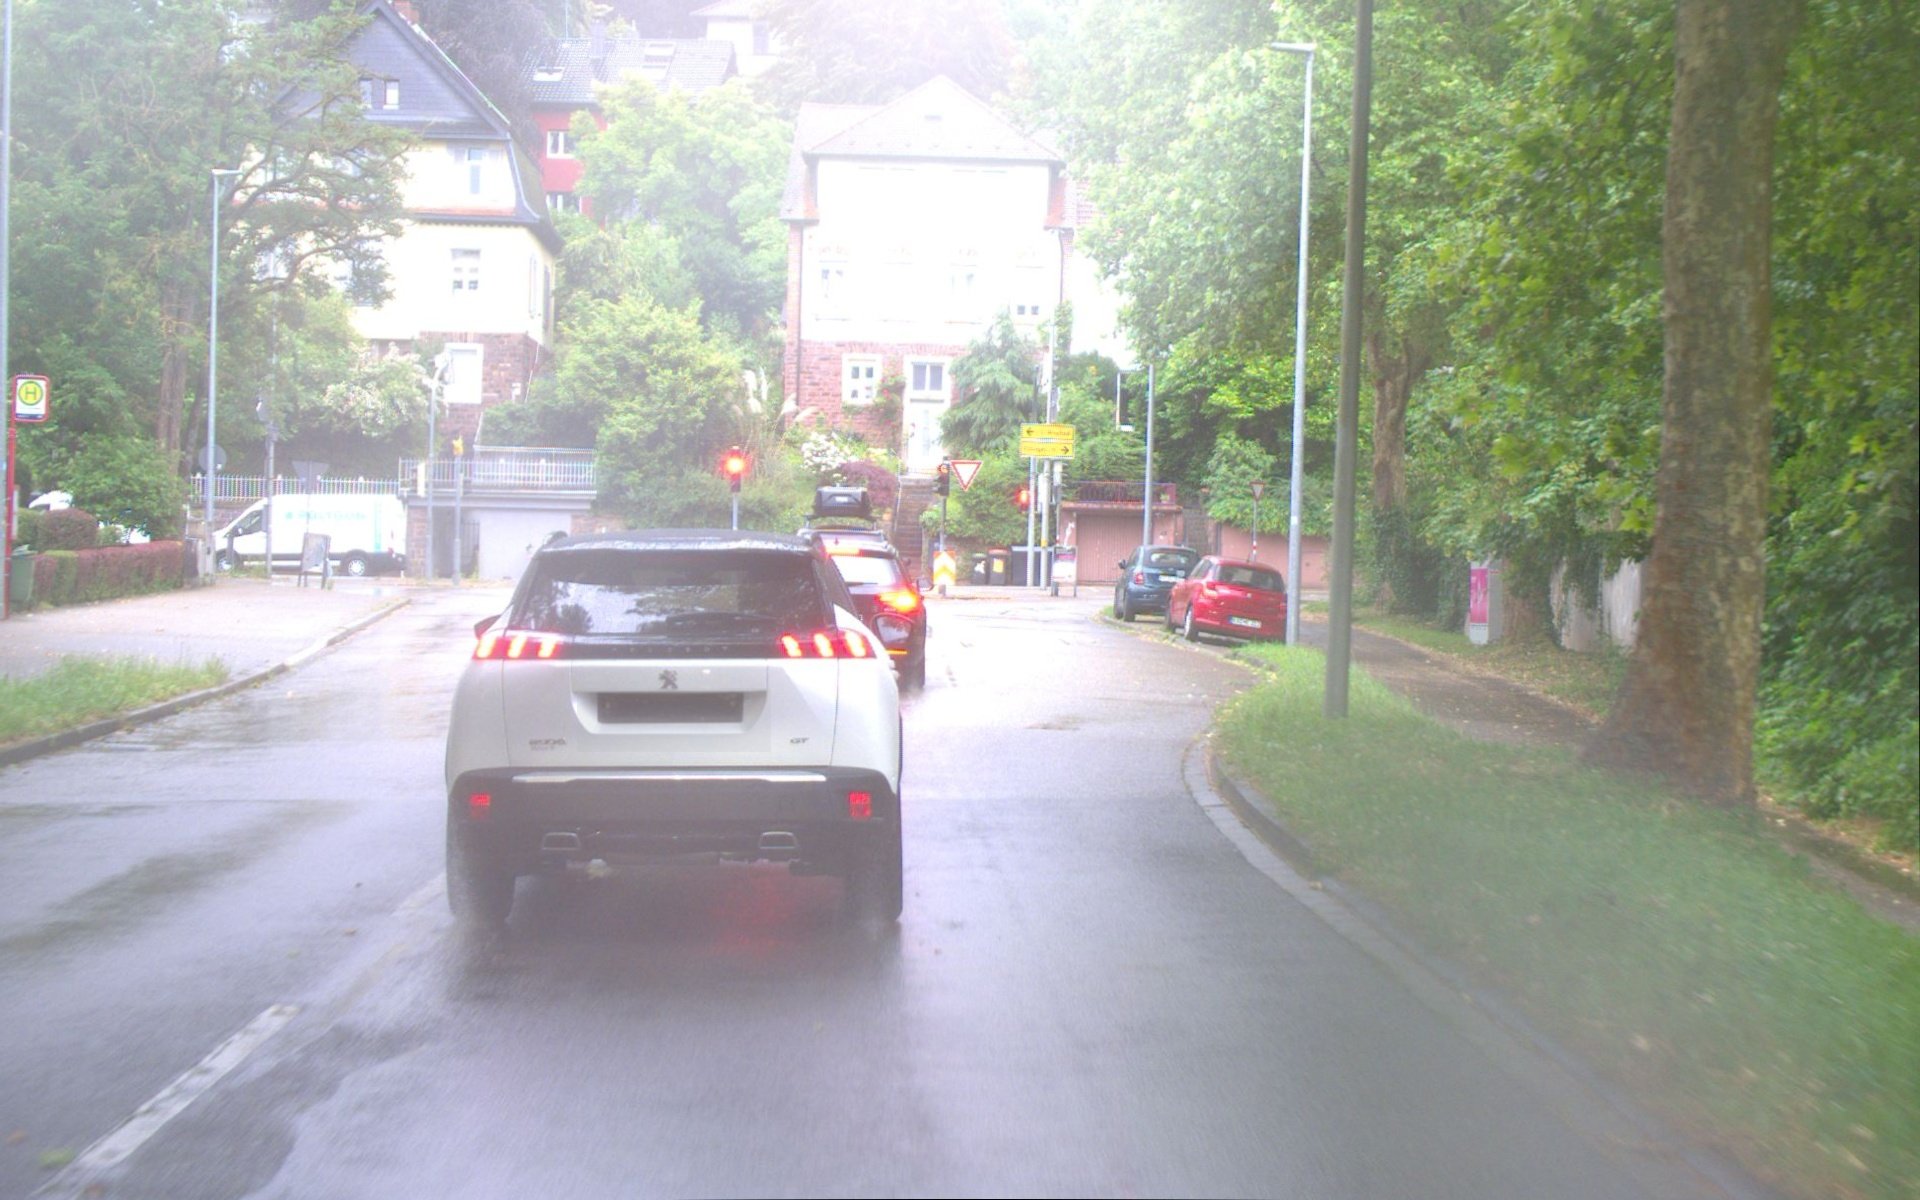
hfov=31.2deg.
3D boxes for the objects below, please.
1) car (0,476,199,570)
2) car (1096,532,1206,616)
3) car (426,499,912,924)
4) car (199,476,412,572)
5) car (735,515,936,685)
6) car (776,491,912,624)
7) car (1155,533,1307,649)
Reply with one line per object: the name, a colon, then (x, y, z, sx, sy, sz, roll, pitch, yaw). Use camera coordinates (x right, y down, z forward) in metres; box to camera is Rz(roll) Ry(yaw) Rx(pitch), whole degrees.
car: (-25.147, -2.224, 99.695, 5.562, 2.485, 2.316, 2, 0, 0)
car: (3.721, -0.532, 67.467, 1.749, 1.486, 3.600, 4, 1, -2)
car: (-1.124, 0.363, 14.695, 1.752, 1.530, 4.368, 1, 1, -2)
car: (-18.917, -2.181, 99.566, 5.660, 2.485, 2.316, 2, 0, 0)
car: (-1.242, -0.057, 35.236, 1.831, 1.451, 4.659, 4, 2, -1)
car: (-1.694, -0.645, 48.910, 1.760, 1.705, 4.602, 3, 2, -3)
car: (4.513, -0.175, 57.745, 1.819, 1.512, 3.744, 8, 2, -4)
